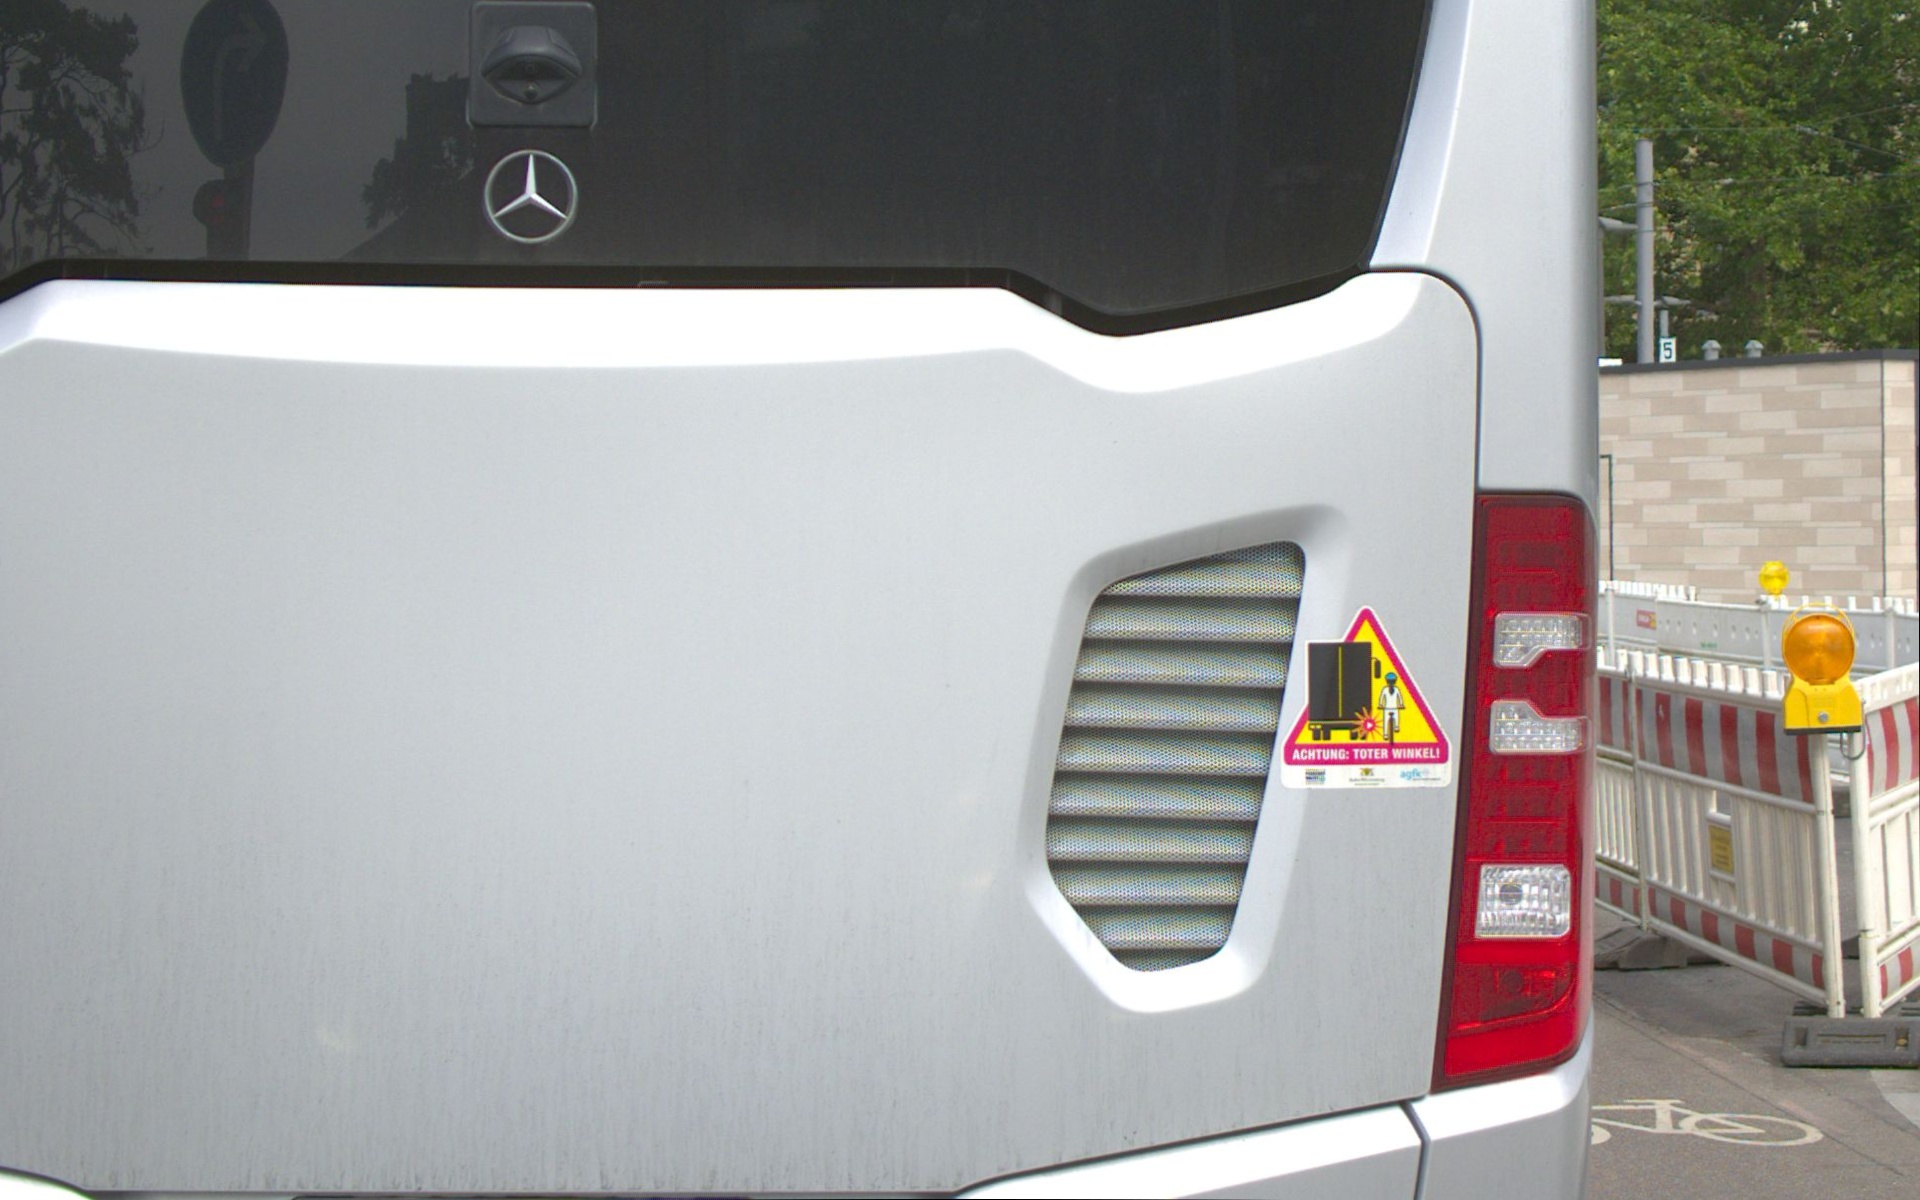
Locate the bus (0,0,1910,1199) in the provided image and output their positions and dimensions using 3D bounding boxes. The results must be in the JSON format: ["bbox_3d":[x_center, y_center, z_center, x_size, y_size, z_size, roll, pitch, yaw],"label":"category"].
[{"bbox_3d":[-0.183,-0.382,10.634,2.704,3.426,14.183,0,1,2],"label":"bus"}]
